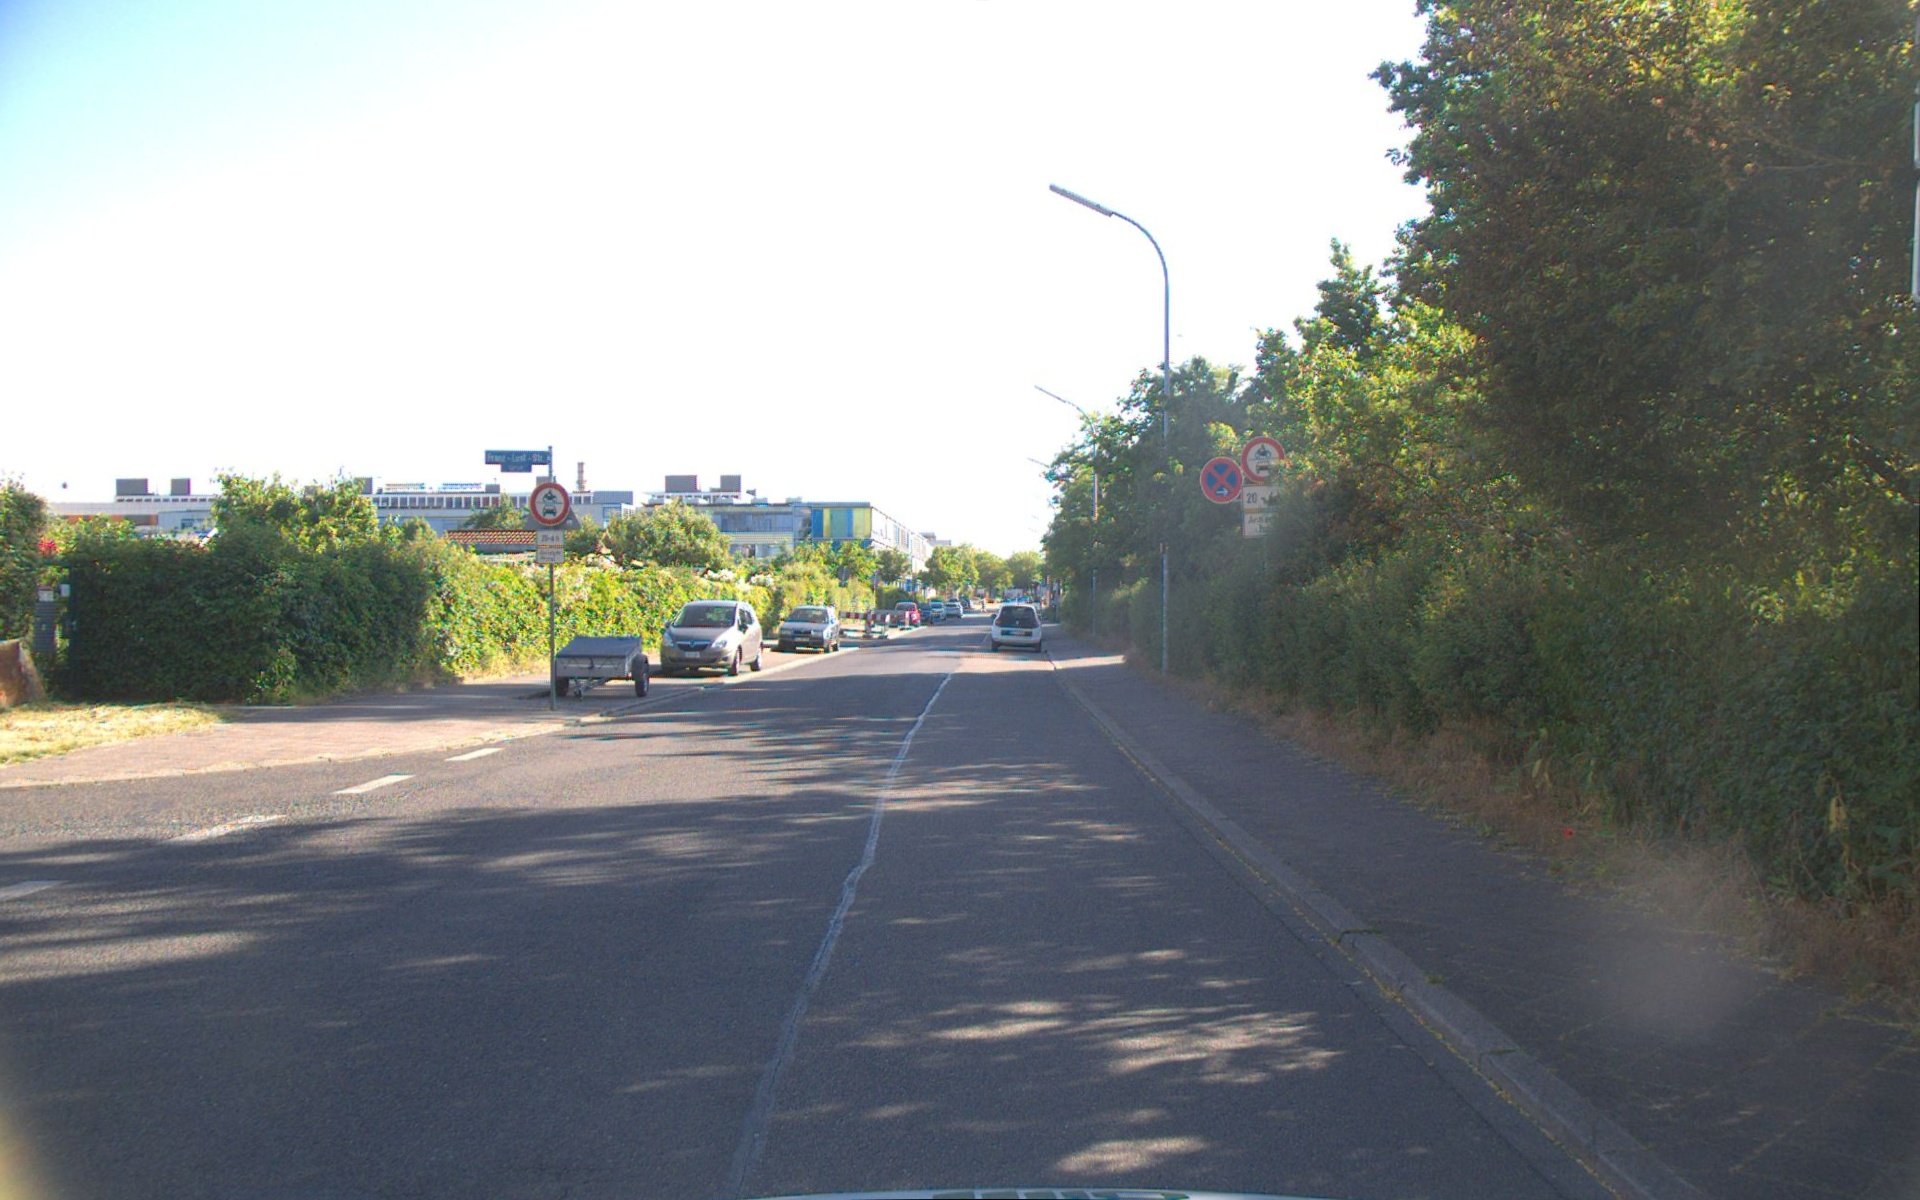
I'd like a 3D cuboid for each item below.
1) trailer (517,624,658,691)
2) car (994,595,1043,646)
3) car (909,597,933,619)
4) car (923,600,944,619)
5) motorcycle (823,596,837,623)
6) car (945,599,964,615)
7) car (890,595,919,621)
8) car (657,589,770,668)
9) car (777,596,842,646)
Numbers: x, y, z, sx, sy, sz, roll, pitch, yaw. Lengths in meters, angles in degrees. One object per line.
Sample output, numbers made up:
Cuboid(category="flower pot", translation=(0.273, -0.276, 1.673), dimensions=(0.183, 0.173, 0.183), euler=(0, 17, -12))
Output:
Cuboid(category="trailer", translation=(-5.999, 0.911, 26.887), dimensions=(1.511, 0.970, 2.648), euler=(1, 0, 4))
Cuboid(category="car", translation=(1.941, 0.668, 54.685), dimensions=(1.523, 1.565, 3.556), euler=(2, 0, 2))
Cuboid(category="car", translation=(-2.810, 0.576, 119.837), dimensions=(1.527, 1.521, 3.571), euler=(2, 0, 2))
Cuboid(category="car", translation=(-2.156, 0.753, 136.873), dimensions=(1.527, 1.521, 3.759), euler=(-1, 0, 2))
Cuboid(category="motorcycle", translation=(-6.320, 0.484, 80.719), dimensions=(0.555, 1.290, 2.090), euler=(1, -1, -2))
Cuboid(category="car", translation=(-0.545, 0.699, 166.278), dimensions=(1.816, 1.453, 4.135), euler=(1, 0, 2))
Cuboid(category="car", translation=(-3.409, 0.472, 101.493), dimensions=(1.527, 1.521, 3.571), euler=(-1, 0, 2))
Cuboid(category="car", translation=(-5.465, 0.600, 37.160), dimensions=(1.609, 1.628, 4.313), euler=(1, 0, 4))
Cuboid(category="car", translation=(-4.953, 0.668, 54.842), dimensions=(1.609, 1.583, 4.418), euler=(-1, 0, 2))
